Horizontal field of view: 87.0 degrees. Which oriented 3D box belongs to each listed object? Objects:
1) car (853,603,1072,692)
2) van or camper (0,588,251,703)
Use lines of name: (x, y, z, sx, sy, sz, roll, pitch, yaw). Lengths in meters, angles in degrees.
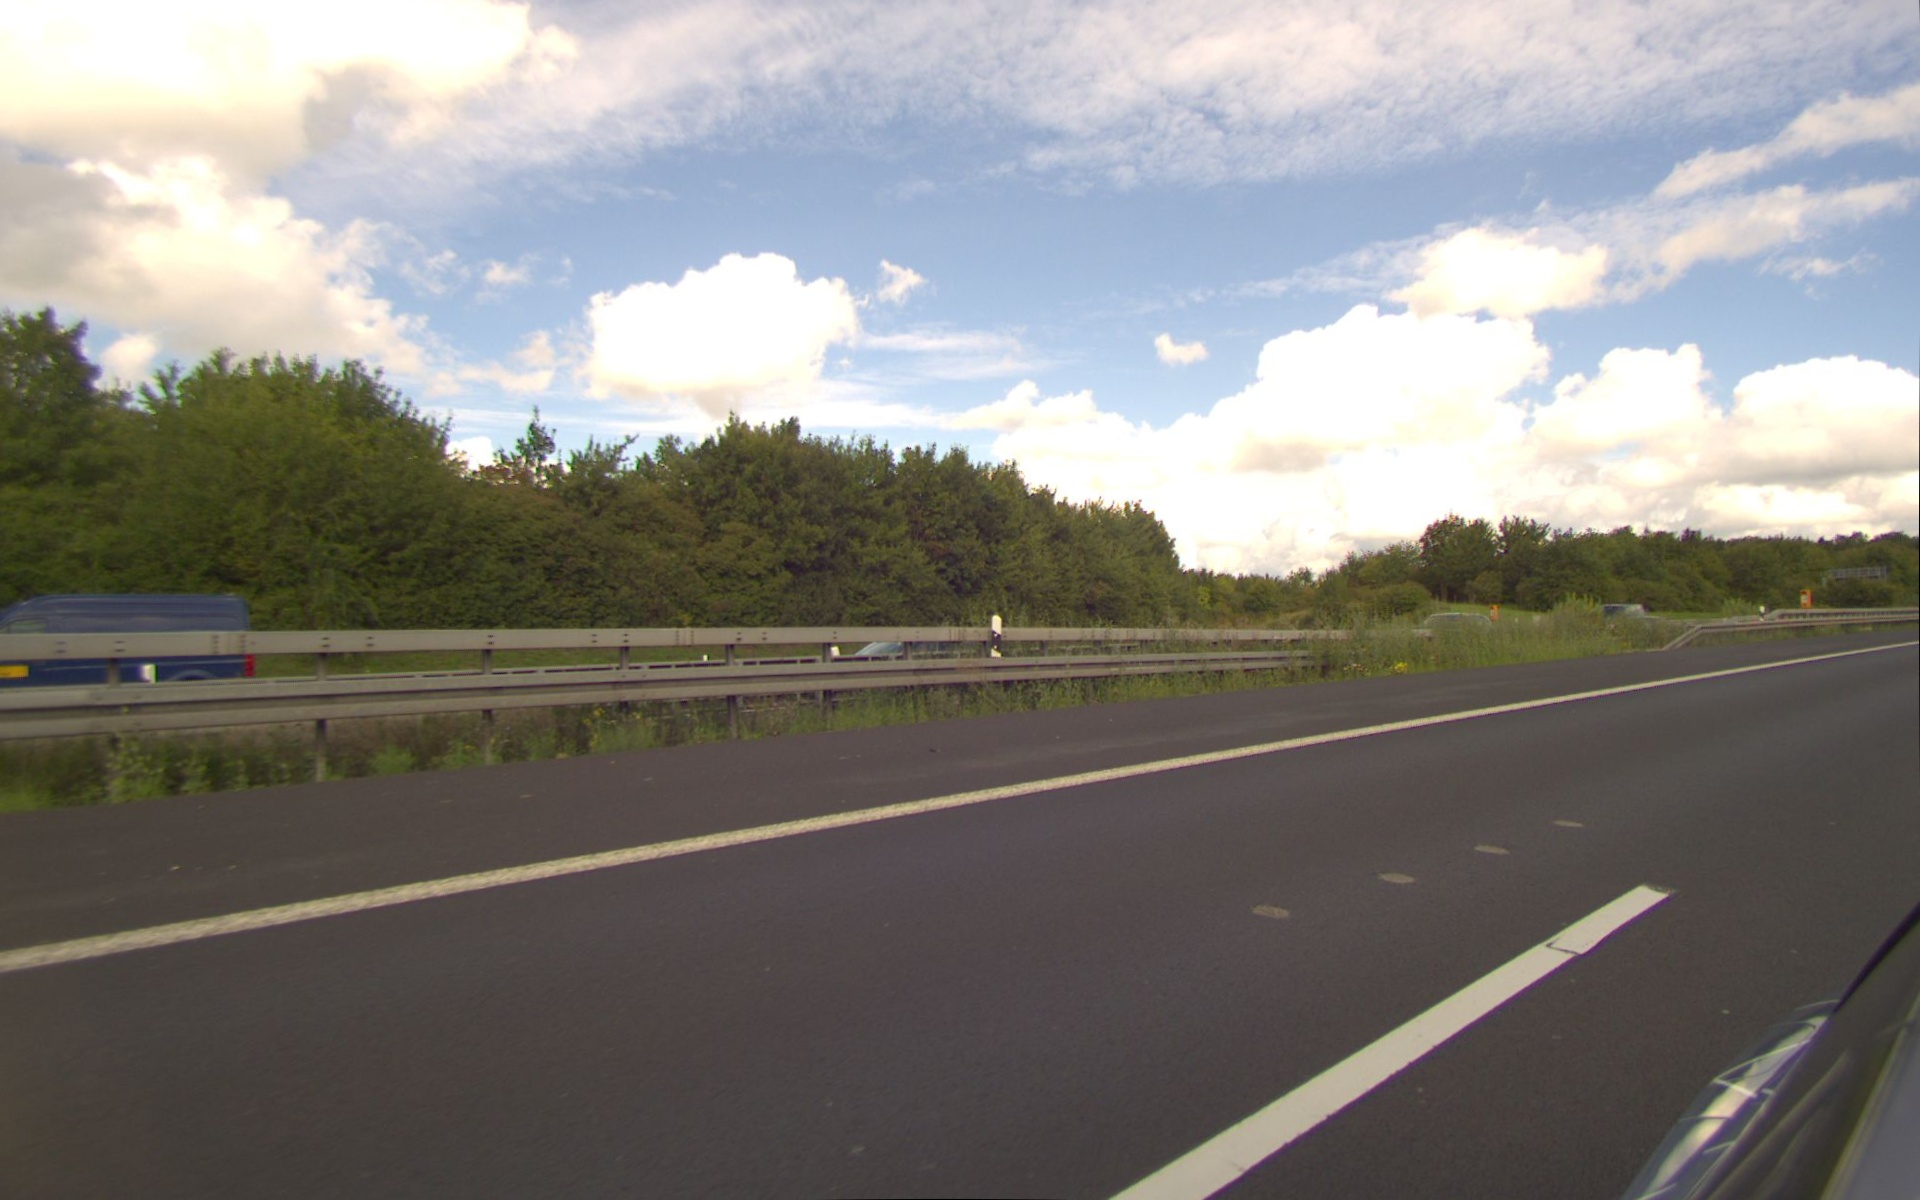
car: (0.118, 0.864, 20.364, 4.266, 1.591, 1.787, 0, 0, -40)
van or camper: (-18.443, 0.864, 21.097, 2.189, 2.207, 5.692, -1, 0, 42)
